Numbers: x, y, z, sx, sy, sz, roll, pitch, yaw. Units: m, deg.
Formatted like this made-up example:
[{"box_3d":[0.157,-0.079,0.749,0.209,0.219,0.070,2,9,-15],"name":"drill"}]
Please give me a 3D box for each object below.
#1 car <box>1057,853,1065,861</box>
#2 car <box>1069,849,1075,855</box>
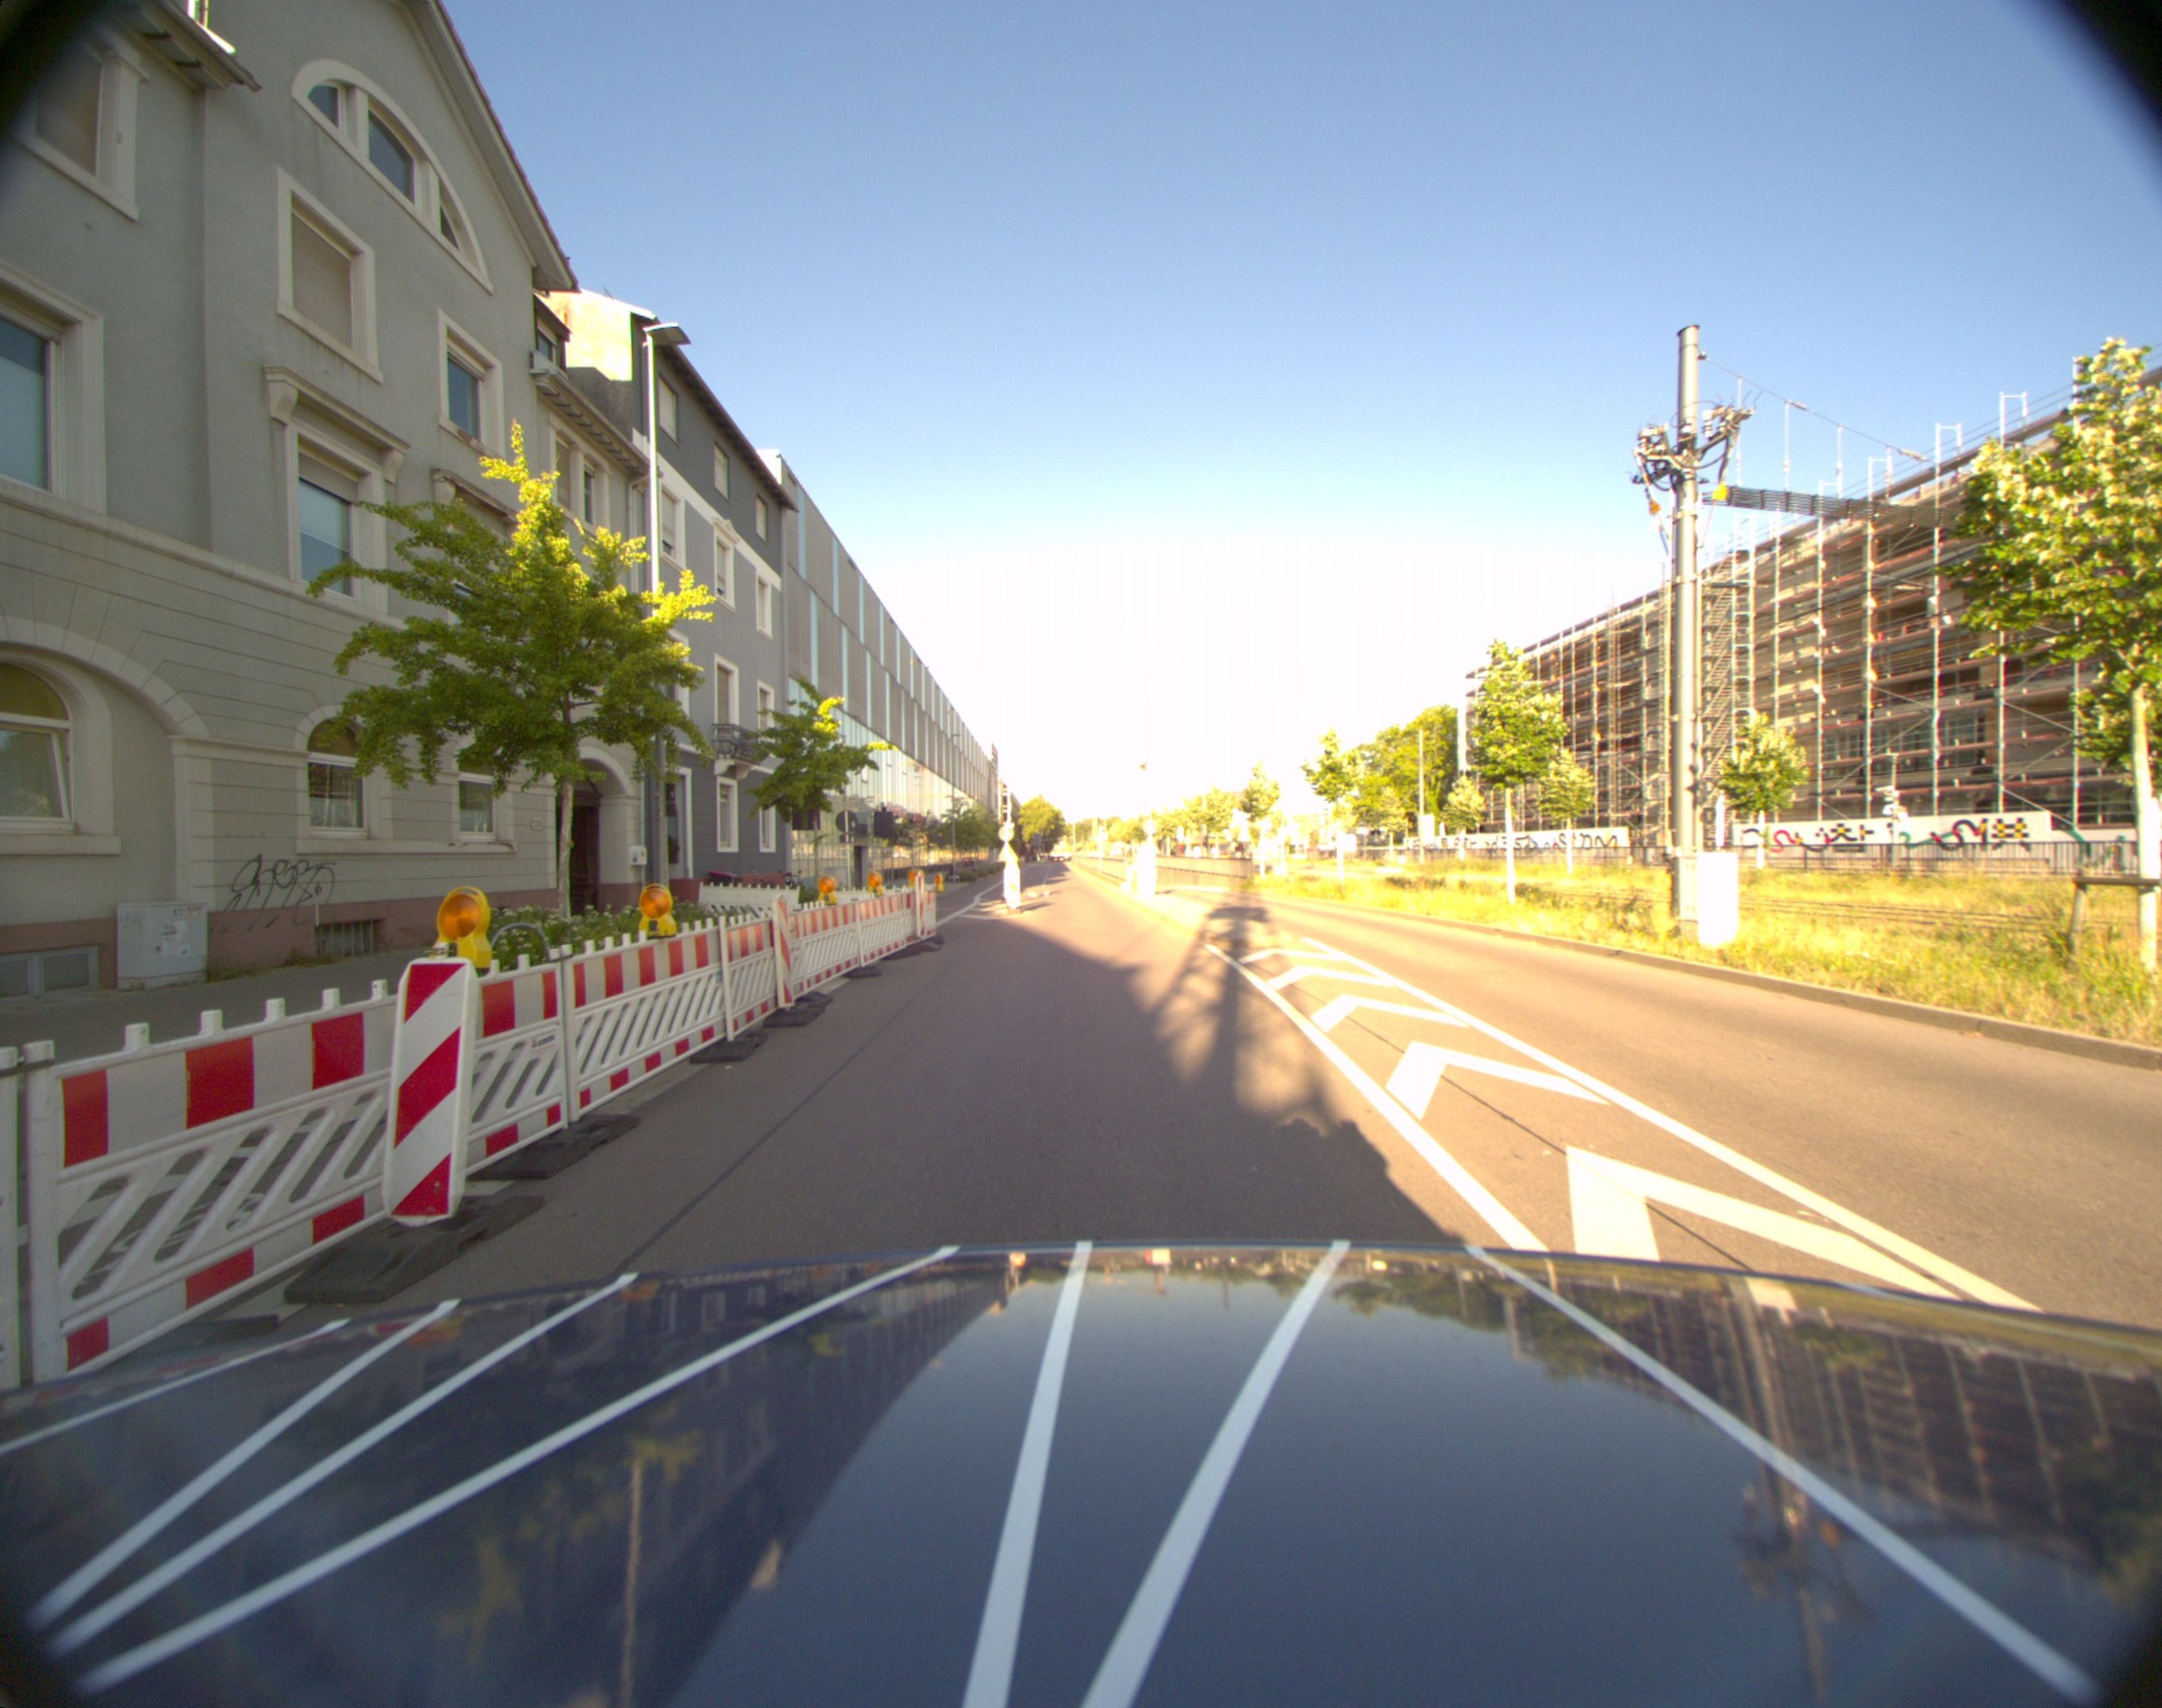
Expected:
[{"box_3d":[-4.904,0.758,187.166,1.941,2.002,3.825,-1,0,-3],"name":"car"},{"box_3d":[-3.089,-0.594,252.800,1.941,2.002,3.825,-1,0,-3],"name":"car"}]
